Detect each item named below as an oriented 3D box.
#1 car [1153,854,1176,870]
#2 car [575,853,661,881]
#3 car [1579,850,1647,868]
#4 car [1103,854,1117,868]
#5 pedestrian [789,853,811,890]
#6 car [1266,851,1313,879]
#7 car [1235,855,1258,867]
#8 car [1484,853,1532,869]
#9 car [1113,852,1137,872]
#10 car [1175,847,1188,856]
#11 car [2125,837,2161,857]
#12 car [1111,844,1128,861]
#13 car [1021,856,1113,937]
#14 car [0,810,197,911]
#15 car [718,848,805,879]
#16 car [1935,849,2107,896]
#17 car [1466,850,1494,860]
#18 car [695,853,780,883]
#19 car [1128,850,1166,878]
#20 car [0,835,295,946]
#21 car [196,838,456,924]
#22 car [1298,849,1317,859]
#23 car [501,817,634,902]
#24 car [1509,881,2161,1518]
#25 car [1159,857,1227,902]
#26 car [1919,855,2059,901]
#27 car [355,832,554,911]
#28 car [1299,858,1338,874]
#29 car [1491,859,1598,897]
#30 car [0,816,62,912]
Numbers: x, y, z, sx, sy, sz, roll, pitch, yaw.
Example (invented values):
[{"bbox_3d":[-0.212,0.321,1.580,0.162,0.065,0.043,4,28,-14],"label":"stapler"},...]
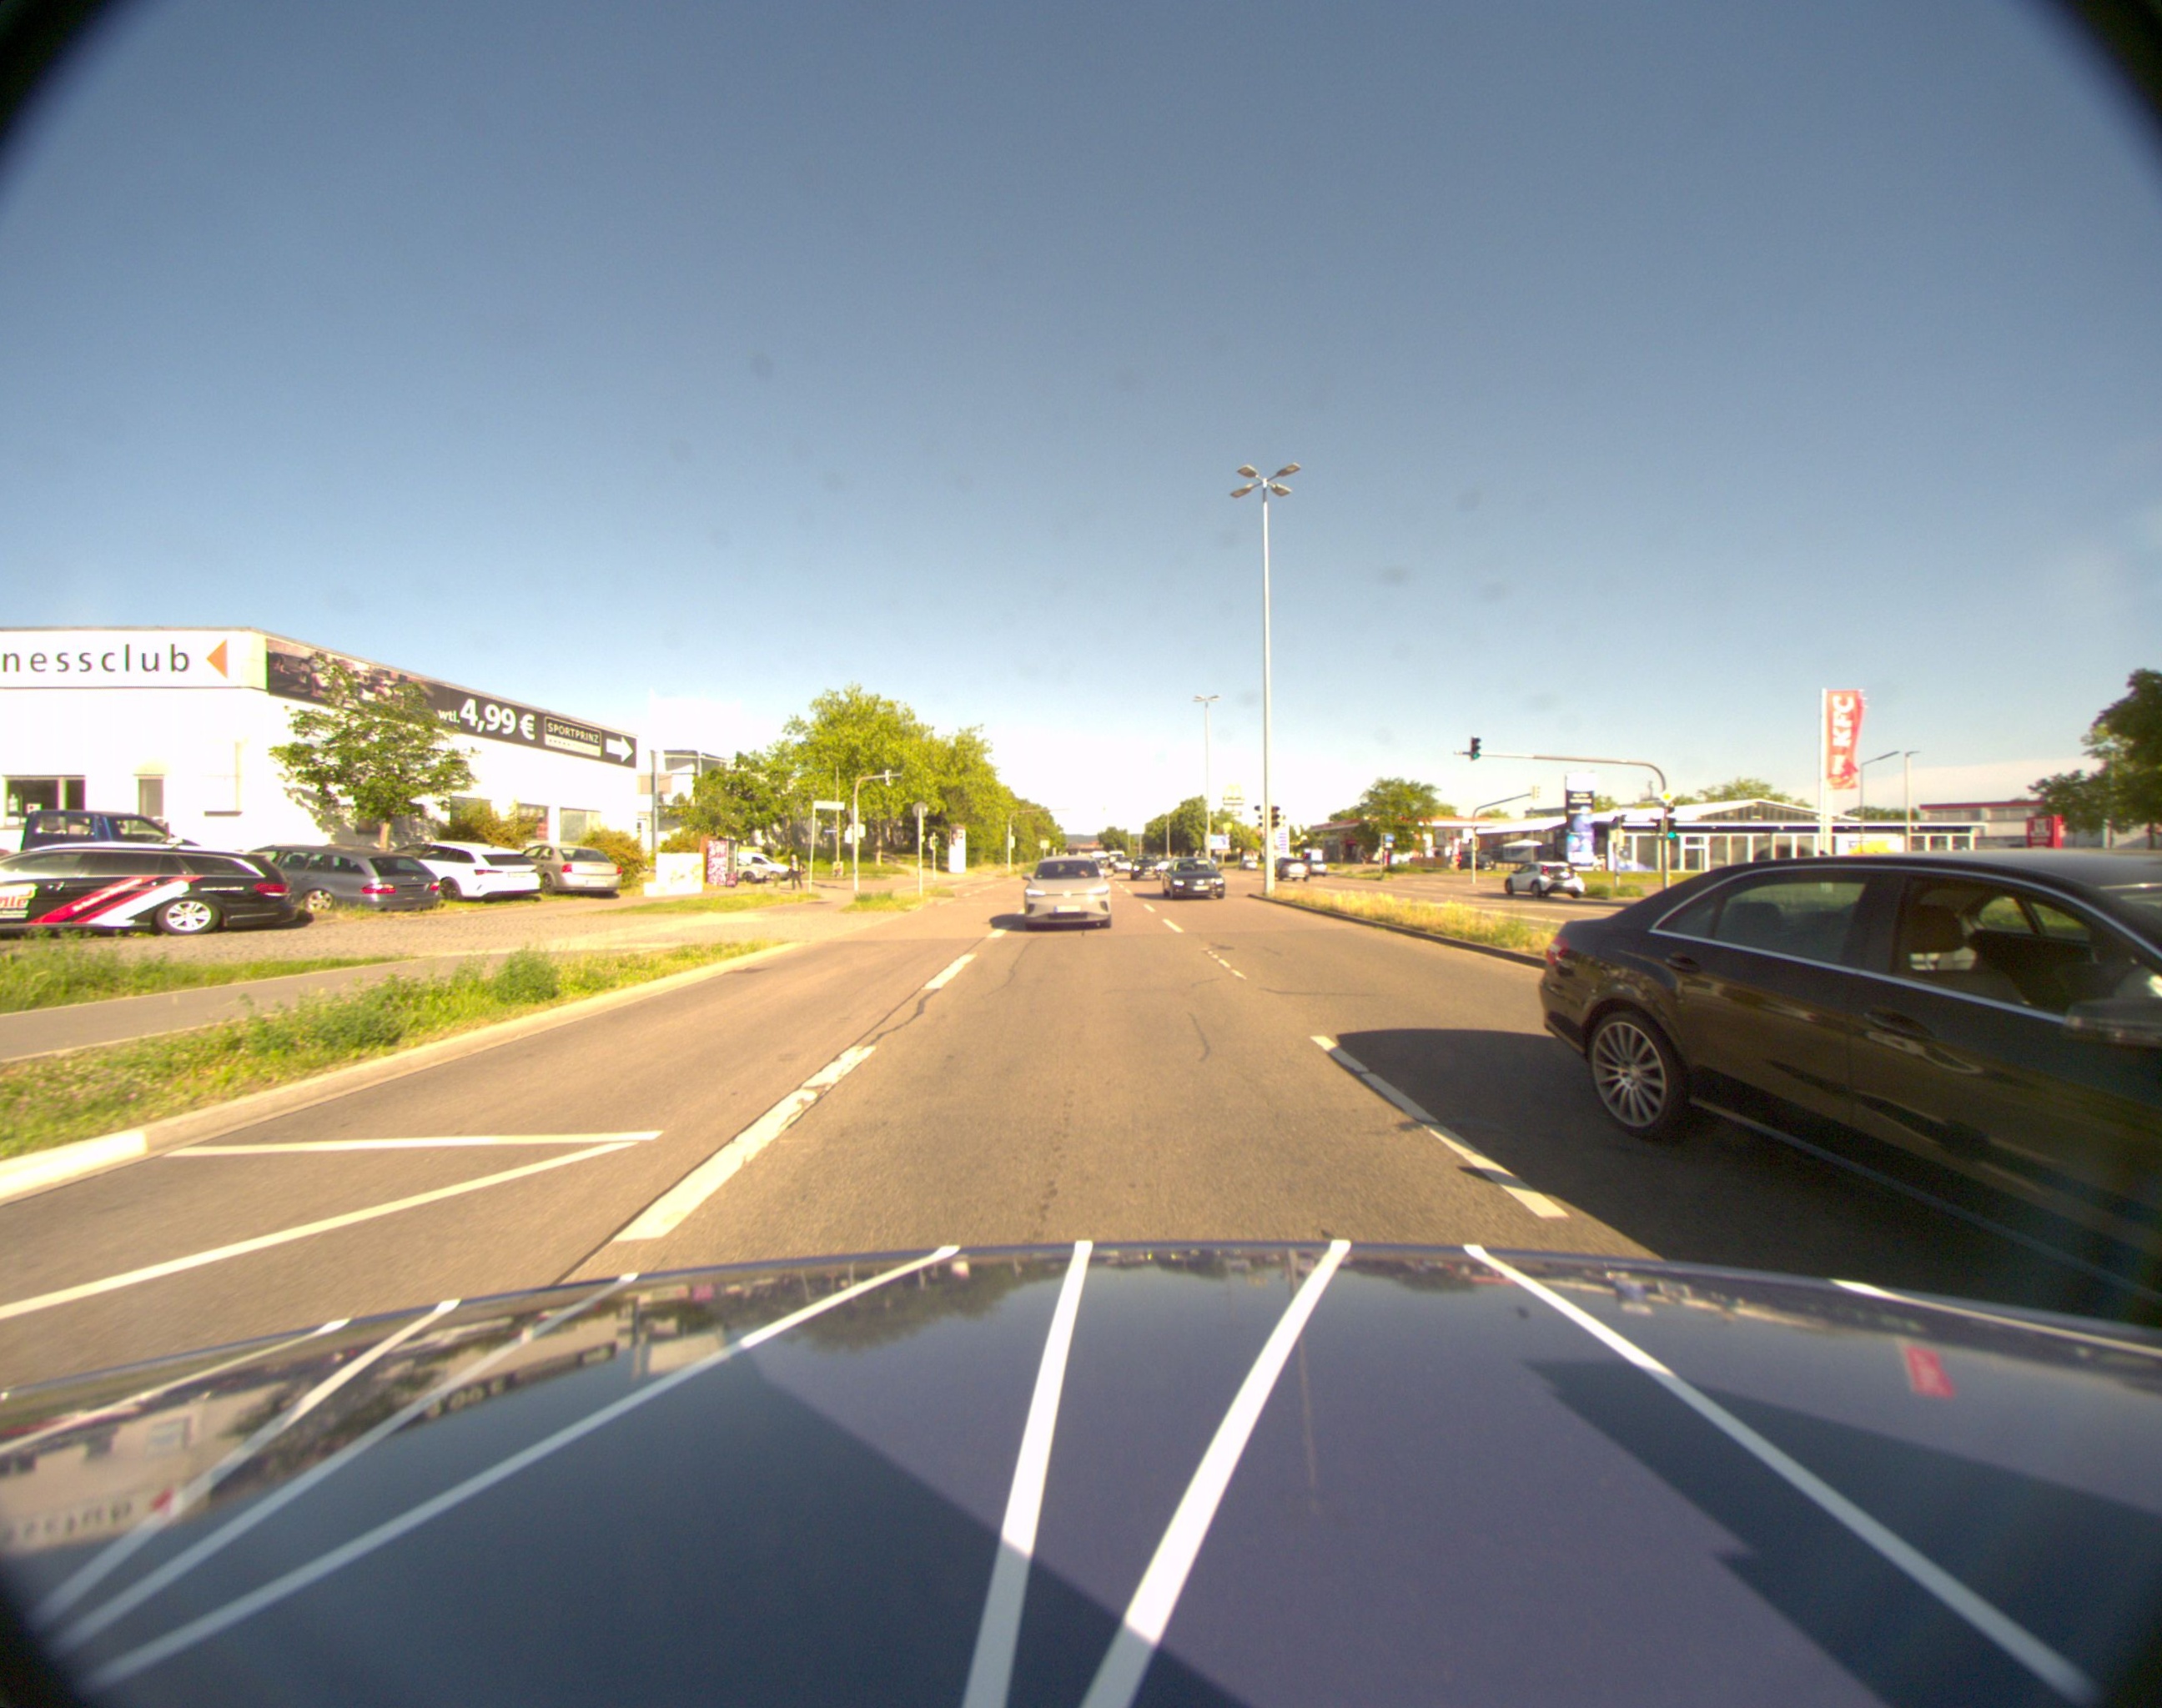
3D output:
[{"bbox_3d":[8.024,0.757,73.090,1.790,1.447,4.116,0,0,1],"label":"car"},{"bbox_3d":[-27.255,0.745,44.781,3.928,1.580,1.808,1,2,1],"label":"car"},{"bbox_3d":[43.355,0.398,61.980,4.116,1.424,1.901,1,1,1],"label":"car"},{"bbox_3d":[4.357,0.980,114.511,1.998,2.002,4.000,-2,0,0],"label":"car"},{"bbox_3d":[-13.270,0.812,35.894,0.759,1.706,0.617,0,1,0],"label":"pedestrian"},{"bbox_3d":[13.271,0.655,48.560,1.879,1.632,4.170,1,0,0],"label":"car"},{"bbox_3d":[20.411,0.884,93.995,1.998,1.516,4.196,0,0,0],"label":"car"},{"bbox_3d":[37.791,0.635,67.387,1.900,1.317,4.119,1,0,-1],"label":"car"},{"bbox_3d":[4.136,0.726,71.658,1.998,1.779,4.270,-2,0,1],"label":"car"},{"bbox_3d":[18.600,-0.484,140.177,1.900,1.590,4.267,1,0,1],"label":"car"},{"bbox_3d":[116.711,-0.771,82.309,1.905,2.081,4.107,1,1,-39],"label":"car"},{"bbox_3d":[5.055,-0.211,99.913,2.089,2.229,4.000,-2,0,1],"label":"car"},{"bbox_3d":[-0.251,0.871,17.744,1.848,1.615,4.265,-1,0,1],"label":"car"},{"bbox_3d":[-20.303,0.084,14.433,1.687,1.773,4.594,3,1,-2],"label":"car"},{"bbox_3d":[-20.197,0.587,48.137,4.692,1.923,1.872,0,1,1],"label":"car"},{"bbox_3d":[36.333,0.709,29.565,1.899,1.652,4.122,-2,1,-42],"label":"car"},{"bbox_3d":[56.730,0.107,108.085,1.772,1.432,4.119,0,0,-1],"label":"car"},{"bbox_3d":[-20.117,0.798,44.600,4.100,1.636,1.901,1,2,1],"label":"car"},{"bbox_3d":[4.184,0.619,48.786,1.998,1.674,4.696,-2,0,1],"label":"car"},{"bbox_3d":[-15.598,0.519,11.693,1.895,1.522,4.847,3,0,44],"label":"car"},{"bbox_3d":[-15.790,0.517,16.034,3.614,1.283,1.841,7,1,2],"label":"car"},{"bbox_3d":[38.602,-0.010,129.582,1.762,1.604,4.119,1,0,-1],"label":"car"},{"bbox_3d":[-15.316,0.141,22.614,3.986,2.002,1.690,7,1,33],"label":"car"},{"bbox_3d":[3.715,0.928,2.446,1.964,1.474,4.918,-1,0,1],"label":"car"},{"bbox_3d":[3.916,0.850,27.129,1.848,1.445,4.265,-1,0,1],"label":"car"},{"bbox_3d":[39.423,0.997,33.088,1.851,1.840,3.820,-2,1,-39],"label":"car"},{"bbox_3d":[-15.879,0.414,19.321,3.924,1.444,1.727,7,1,12],"label":"car"},{"bbox_3d":[20.754,1.027,66.679,1.998,1.368,4.623,0,0,0],"label":"car"},{"bbox_3d":[19.678,0.980,32.494,1.998,1.465,4.195,0,0,0],"label":"car"},{"bbox_3d":[-22.173,0.189,13.713,1.898,1.850,4.215,3,1,-2],"label":"car"}]
